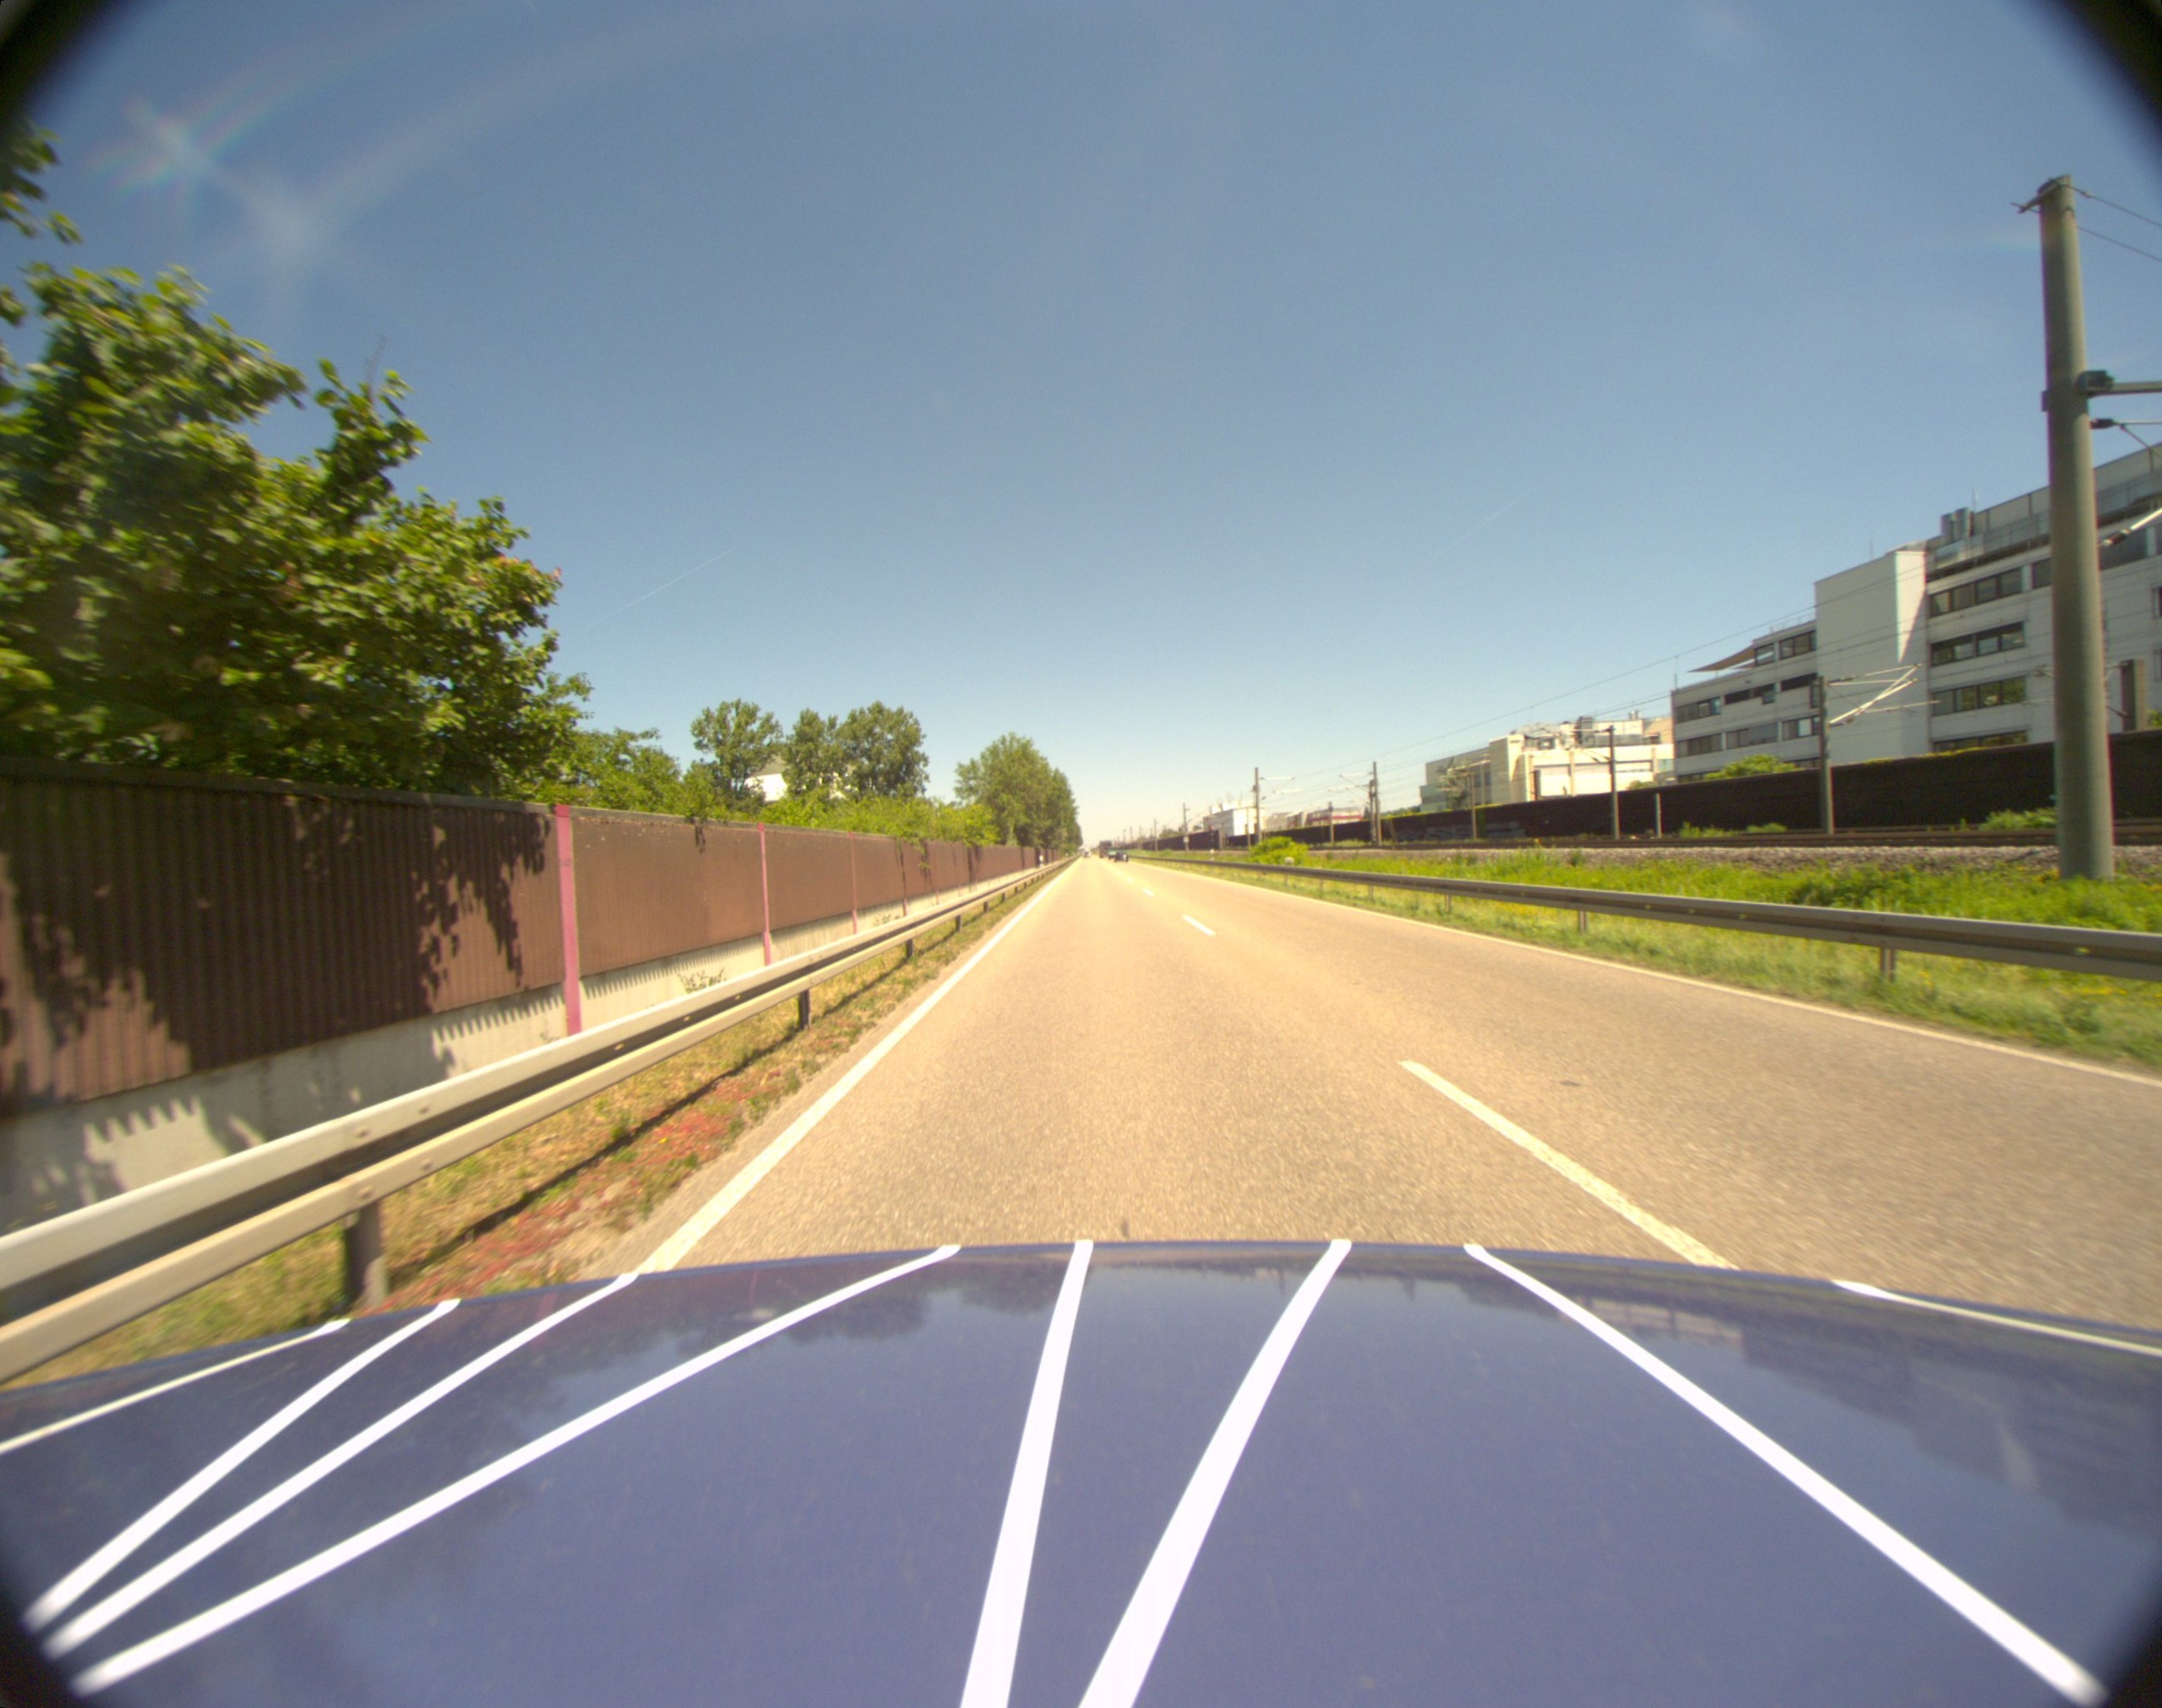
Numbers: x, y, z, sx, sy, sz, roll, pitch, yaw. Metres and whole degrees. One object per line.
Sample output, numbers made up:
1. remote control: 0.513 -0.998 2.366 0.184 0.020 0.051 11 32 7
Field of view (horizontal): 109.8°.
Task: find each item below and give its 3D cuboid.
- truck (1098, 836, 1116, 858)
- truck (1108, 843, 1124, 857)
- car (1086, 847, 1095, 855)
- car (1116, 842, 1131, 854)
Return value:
1. truck: 5.473 -1.454 162.951 3.054 4.449 10.585 -2 1 -2
2. truck: 5.856 -0.741 128.634 2.389 2.256 6.236 -2 1 1
3. car: 2.278 -0.744 188.655 1.998 2.002 4.000 -2 1 3
4. car: 5.693 -0.796 102.121 1.803 1.455 4.000 -2 1 1
